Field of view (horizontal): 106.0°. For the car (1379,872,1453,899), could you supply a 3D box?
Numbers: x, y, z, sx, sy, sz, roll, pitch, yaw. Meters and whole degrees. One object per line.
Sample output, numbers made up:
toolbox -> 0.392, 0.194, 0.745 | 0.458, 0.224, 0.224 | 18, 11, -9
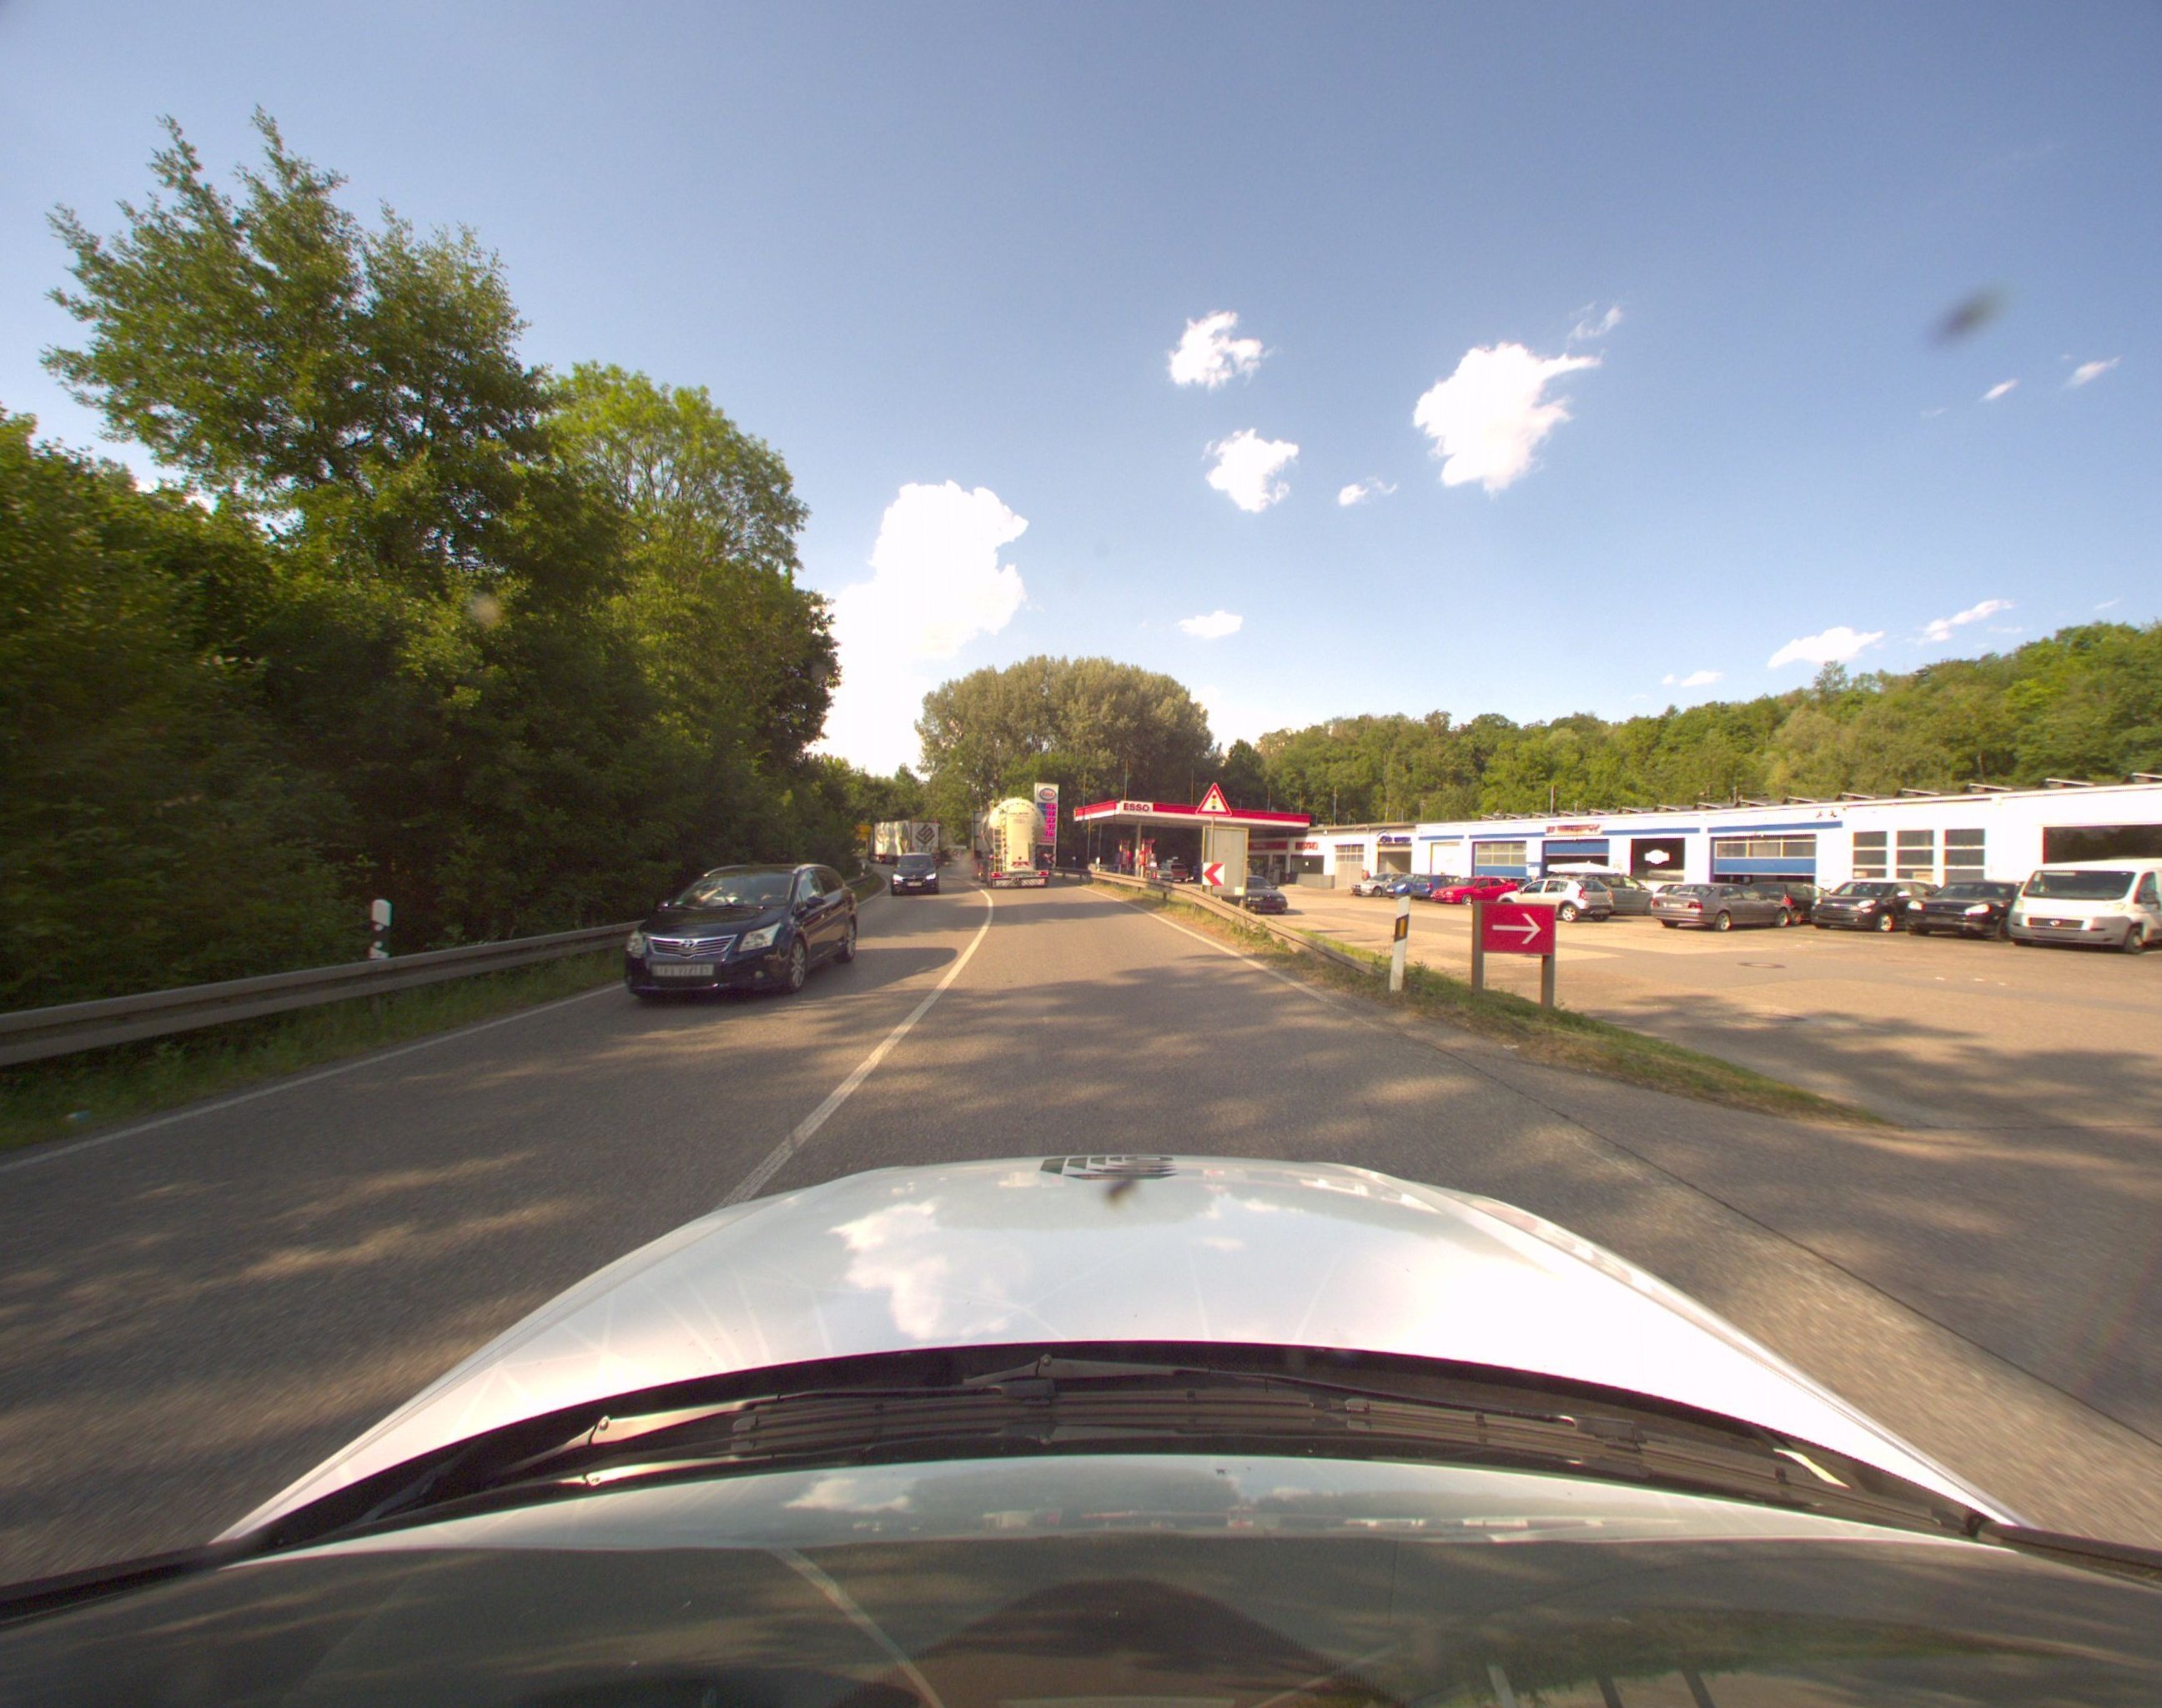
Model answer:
car -> 18.434, 1.723, 44.873 | 3.560, 1.406, 1.680 | 1, 0, -18

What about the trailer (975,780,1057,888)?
trailer -> -3.288, -0.825, 38.551 | 2.887, 4.454, 9.572 | -1, 0, -10

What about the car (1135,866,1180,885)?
car -> 5.784, 1.630, 62.288 | 1.847, 1.319, 4.364 | 2, 0, -17

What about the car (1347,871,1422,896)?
car -> 17.648, 1.700, 47.307 | 3.973, 1.354, 1.764 | 0, 0, -22

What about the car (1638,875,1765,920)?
car -> 23.284, 1.573, 30.571 | 4.159, 1.461, 1.858 | -1, 0, -20

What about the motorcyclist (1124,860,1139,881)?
motorcyclist -> 4.077, 1.336, 65.635 | 0.860, 1.605, 0.922 | 2, -1, -19

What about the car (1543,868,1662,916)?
car -> 20.852, 1.471, 32.571 | 4.263, 1.728, 1.879 | -1, 0, -21

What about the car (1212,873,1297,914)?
car -> 6.588, 1.465, 31.441 | 1.823, 1.352, 4.259 | 1, 0, -9

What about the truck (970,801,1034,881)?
truck -> -4.425, -0.667, 44.328 | 2.826, 4.035, 5.870 | -1, 0, -12

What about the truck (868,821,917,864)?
truck -> -18.941, -1.058, 81.754 | 3.468, 4.086, 6.435 | 0, -1, -26

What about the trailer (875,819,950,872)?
trailer -> -15.889, -0.626, 75.695 | 3.565, 4.513, 12.869 | 0, -1, -27

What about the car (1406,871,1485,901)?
car -> 19.168, 1.688, 42.810 | 3.553, 1.445, 1.723 | 2, 0, -18

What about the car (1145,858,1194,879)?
car -> 7.288, 1.192, 67.581 | 2.098, 1.628, 5.147 | 2, 0, -19

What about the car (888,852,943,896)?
car -> -6.467, 0.731, 32.266 | 1.867, 1.589, 4.235 | -1, 0, -9

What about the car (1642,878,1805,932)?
car -> 20.591, 1.581, 26.100 | 4.736, 1.434, 1.944 | -1, 0, -20

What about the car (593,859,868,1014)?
car -> -4.164, 0.852, 10.561 | 1.846, 1.508, 4.398 | -1, 0, -3

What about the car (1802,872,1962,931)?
car -> 25.140, 1.444, 25.578 | 4.252, 1.610, 1.883 | -1, 0, -18

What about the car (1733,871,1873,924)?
car -> 24.943, 1.446, 28.156 | 3.998, 1.610, 1.883 | -1, 0, -18

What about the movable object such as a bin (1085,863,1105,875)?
movable object such as a bin -> 1.790, 1.961, 104.512 | 1.274, 1.420, 2.531 | 5, -2, -32

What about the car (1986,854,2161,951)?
car -> 26.573, 1.134, 21.060 | 5.489, 2.274, 2.281 | 0, 0, -19

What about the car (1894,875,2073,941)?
car -> 25.617, 1.469, 23.134 | 4.170, 1.610, 1.913 | -1, 0, -18

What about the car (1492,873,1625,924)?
car -> 17.382, 1.550, 29.874 | 1.797, 1.596, 3.960 | -1, 0, -22

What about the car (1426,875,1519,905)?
car -> 19.596, 1.759, 40.830 | 4.078, 1.348, 1.883 | 0, 0, -18

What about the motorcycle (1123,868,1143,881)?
motorcycle -> 4.135, 1.643, 65.402 | 0.764, 1.012, 2.326 | 2, 0, -18
